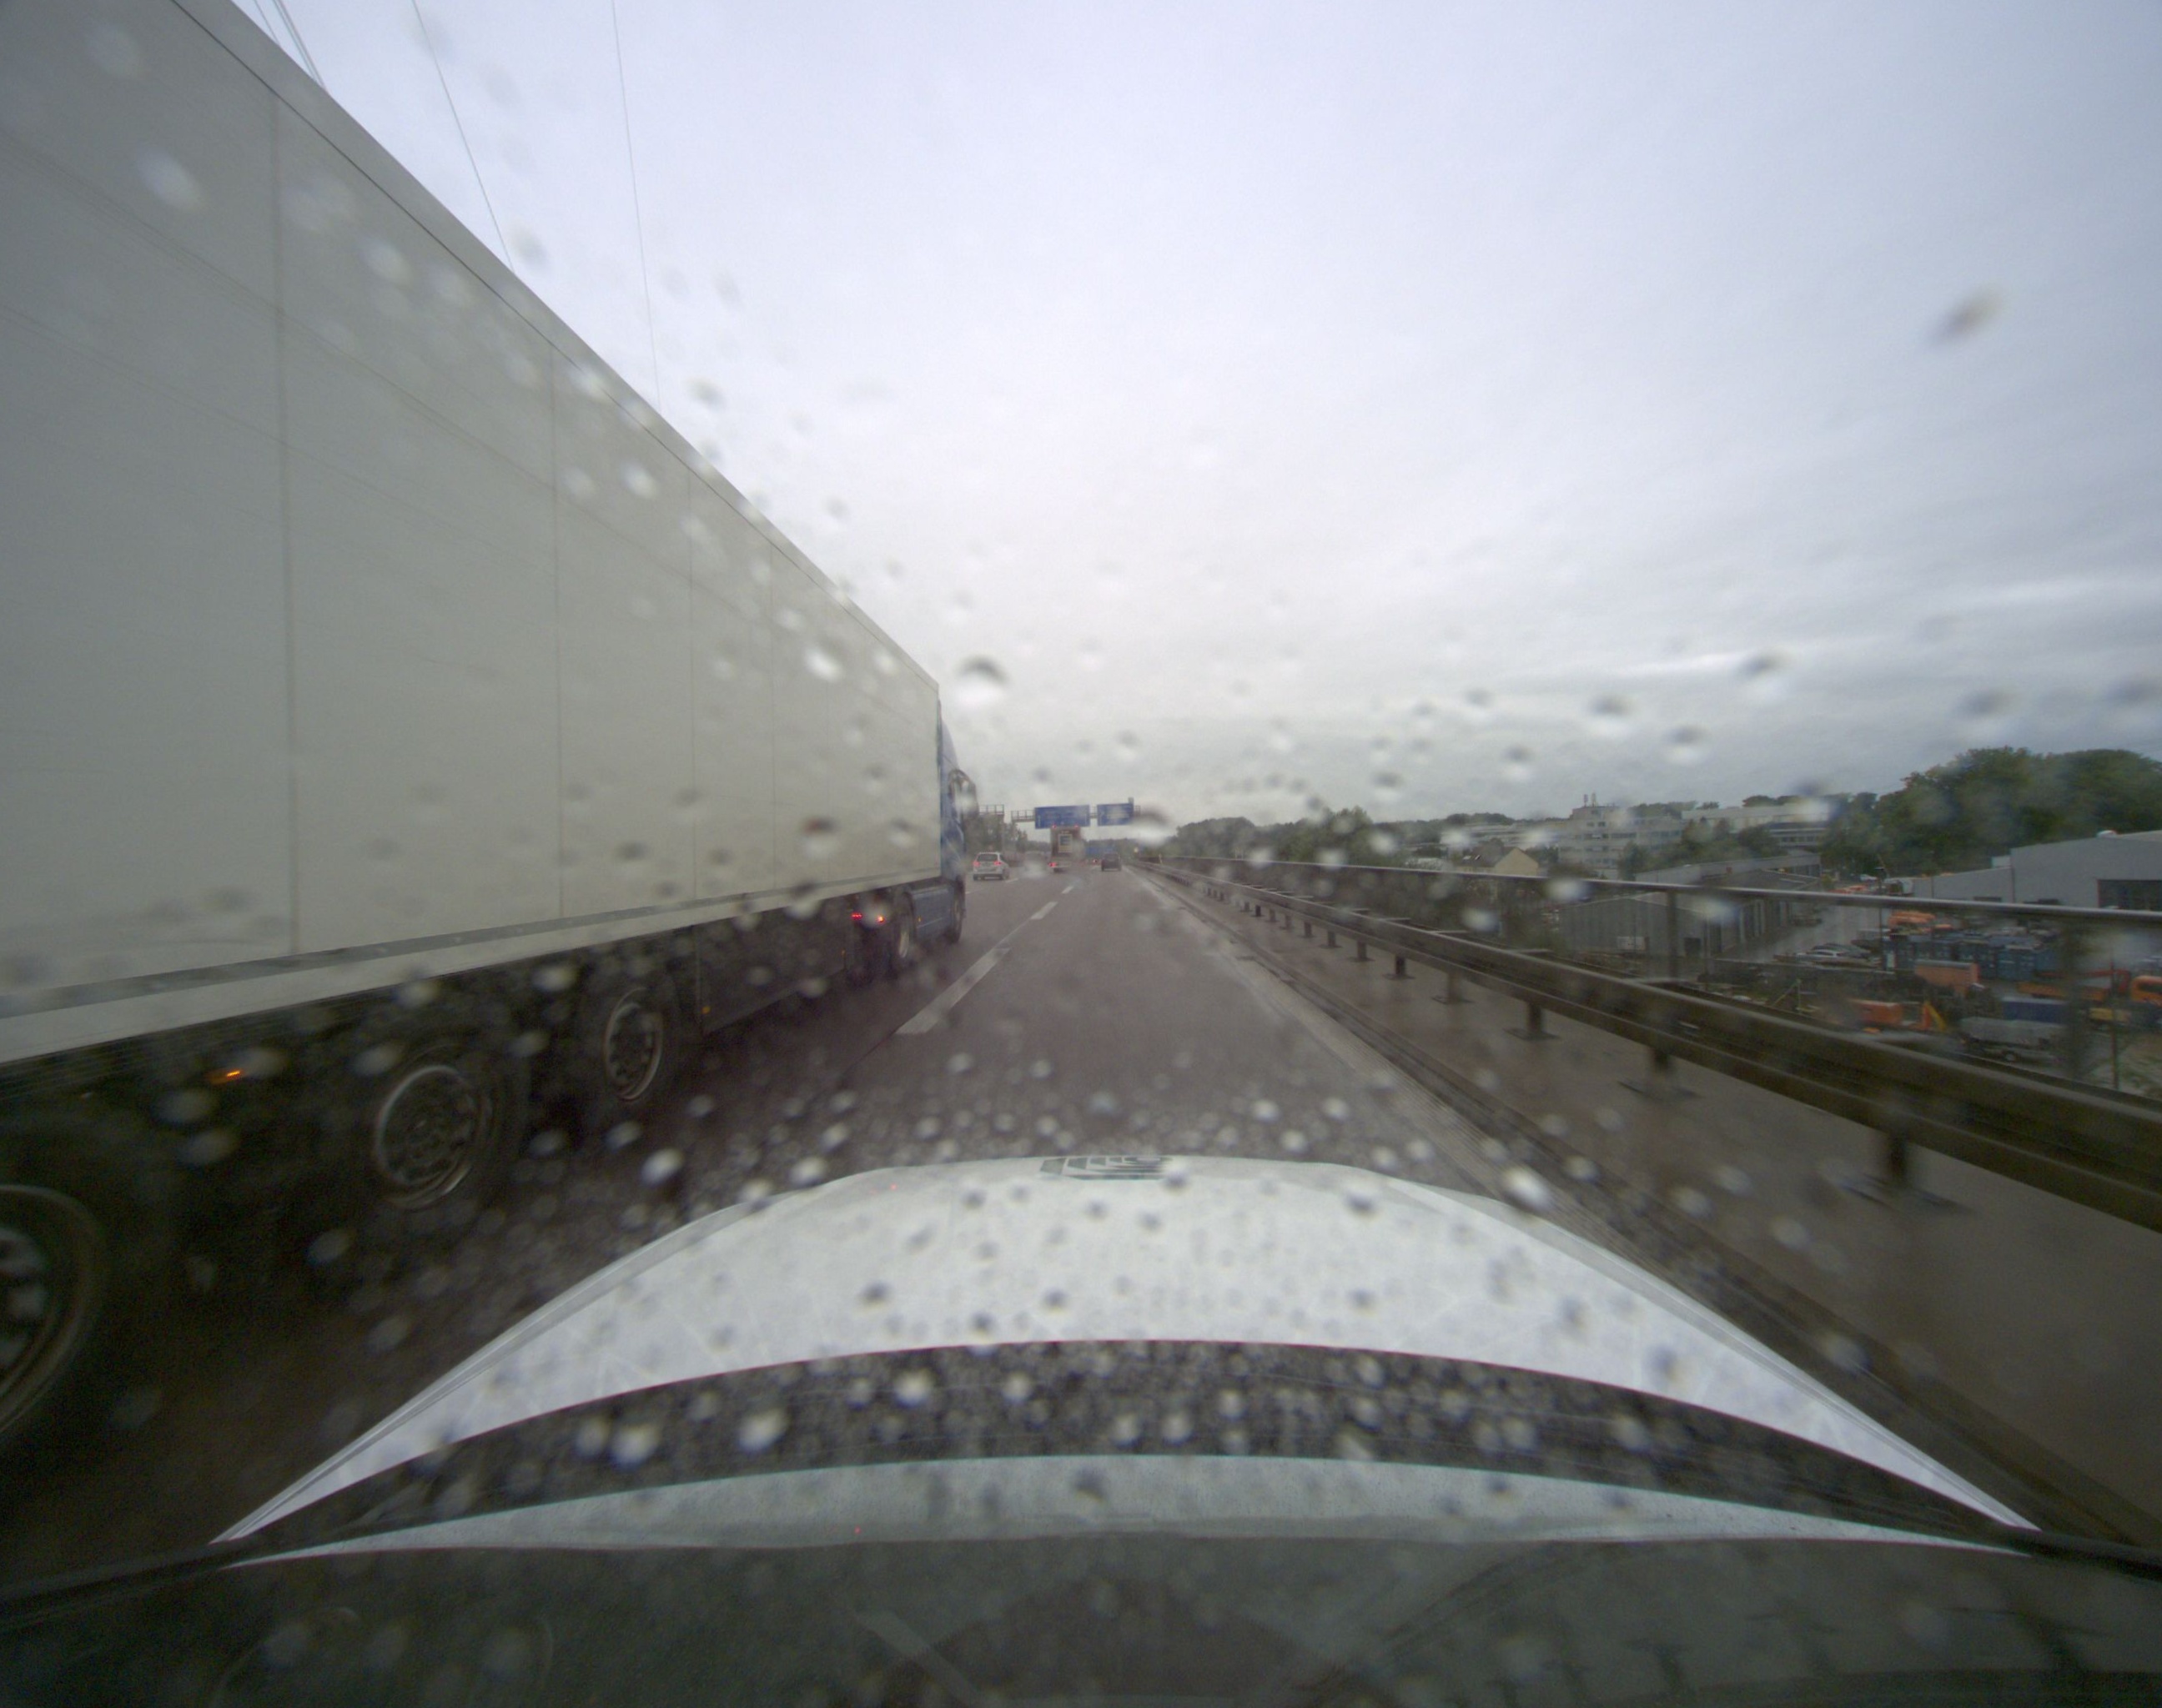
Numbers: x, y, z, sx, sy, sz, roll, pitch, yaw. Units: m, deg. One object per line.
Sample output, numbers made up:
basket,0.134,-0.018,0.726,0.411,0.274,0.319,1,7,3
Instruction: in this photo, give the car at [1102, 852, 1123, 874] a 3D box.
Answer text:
car,2.938,0.828,74.925,1.889,1.949,4.003,0,-1,3

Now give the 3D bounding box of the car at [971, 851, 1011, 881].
car,-5.459,0.714,49.676,1.887,1.723,4.001,0,-1,2

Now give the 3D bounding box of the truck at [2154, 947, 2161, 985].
truck,97.416,9.909,69.710,2.112,3.184,6.522,0,-1,-32

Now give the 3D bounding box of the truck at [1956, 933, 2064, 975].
truck,88.257,9.429,77.520,2.112,3.184,6.522,0,-1,-32

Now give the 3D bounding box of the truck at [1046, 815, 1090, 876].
truck,-1.077,-0.656,74.816,3.520,5.183,9.896,0,-1,2

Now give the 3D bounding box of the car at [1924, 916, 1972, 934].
car,111.623,9.142,104.889,2.008,2.014,3.958,0,-1,-34

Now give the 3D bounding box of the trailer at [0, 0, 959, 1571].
trailer,-3.397,-0.535,5.524,2.334,4.157,14.833,-2,0,2

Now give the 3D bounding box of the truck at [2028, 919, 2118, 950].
truck,117.816,9.506,96.834,2.112,3.184,6.522,0,-1,-32

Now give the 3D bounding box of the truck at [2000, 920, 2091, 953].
truck,111.429,9.509,94.157,2.112,3.184,6.522,0,-1,-32

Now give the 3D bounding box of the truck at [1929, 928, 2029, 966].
truck,91.151,9.388,82.820,2.112,3.184,6.522,0,-1,-32

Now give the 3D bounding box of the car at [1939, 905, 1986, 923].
car,117.157,7.942,108.232,2.008,2.014,3.958,0,-1,-34

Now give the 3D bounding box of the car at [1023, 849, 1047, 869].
car,-4.518,0.531,81.168,2.041,1.949,4.001,0,-1,2

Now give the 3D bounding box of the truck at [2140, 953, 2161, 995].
truck,90.443,9.930,65.318,2.112,3.184,6.522,0,-1,-32

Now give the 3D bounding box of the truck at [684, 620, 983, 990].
truck,-3.212,-0.573,12.465,2.334,4.157,6.349,-2,0,2
